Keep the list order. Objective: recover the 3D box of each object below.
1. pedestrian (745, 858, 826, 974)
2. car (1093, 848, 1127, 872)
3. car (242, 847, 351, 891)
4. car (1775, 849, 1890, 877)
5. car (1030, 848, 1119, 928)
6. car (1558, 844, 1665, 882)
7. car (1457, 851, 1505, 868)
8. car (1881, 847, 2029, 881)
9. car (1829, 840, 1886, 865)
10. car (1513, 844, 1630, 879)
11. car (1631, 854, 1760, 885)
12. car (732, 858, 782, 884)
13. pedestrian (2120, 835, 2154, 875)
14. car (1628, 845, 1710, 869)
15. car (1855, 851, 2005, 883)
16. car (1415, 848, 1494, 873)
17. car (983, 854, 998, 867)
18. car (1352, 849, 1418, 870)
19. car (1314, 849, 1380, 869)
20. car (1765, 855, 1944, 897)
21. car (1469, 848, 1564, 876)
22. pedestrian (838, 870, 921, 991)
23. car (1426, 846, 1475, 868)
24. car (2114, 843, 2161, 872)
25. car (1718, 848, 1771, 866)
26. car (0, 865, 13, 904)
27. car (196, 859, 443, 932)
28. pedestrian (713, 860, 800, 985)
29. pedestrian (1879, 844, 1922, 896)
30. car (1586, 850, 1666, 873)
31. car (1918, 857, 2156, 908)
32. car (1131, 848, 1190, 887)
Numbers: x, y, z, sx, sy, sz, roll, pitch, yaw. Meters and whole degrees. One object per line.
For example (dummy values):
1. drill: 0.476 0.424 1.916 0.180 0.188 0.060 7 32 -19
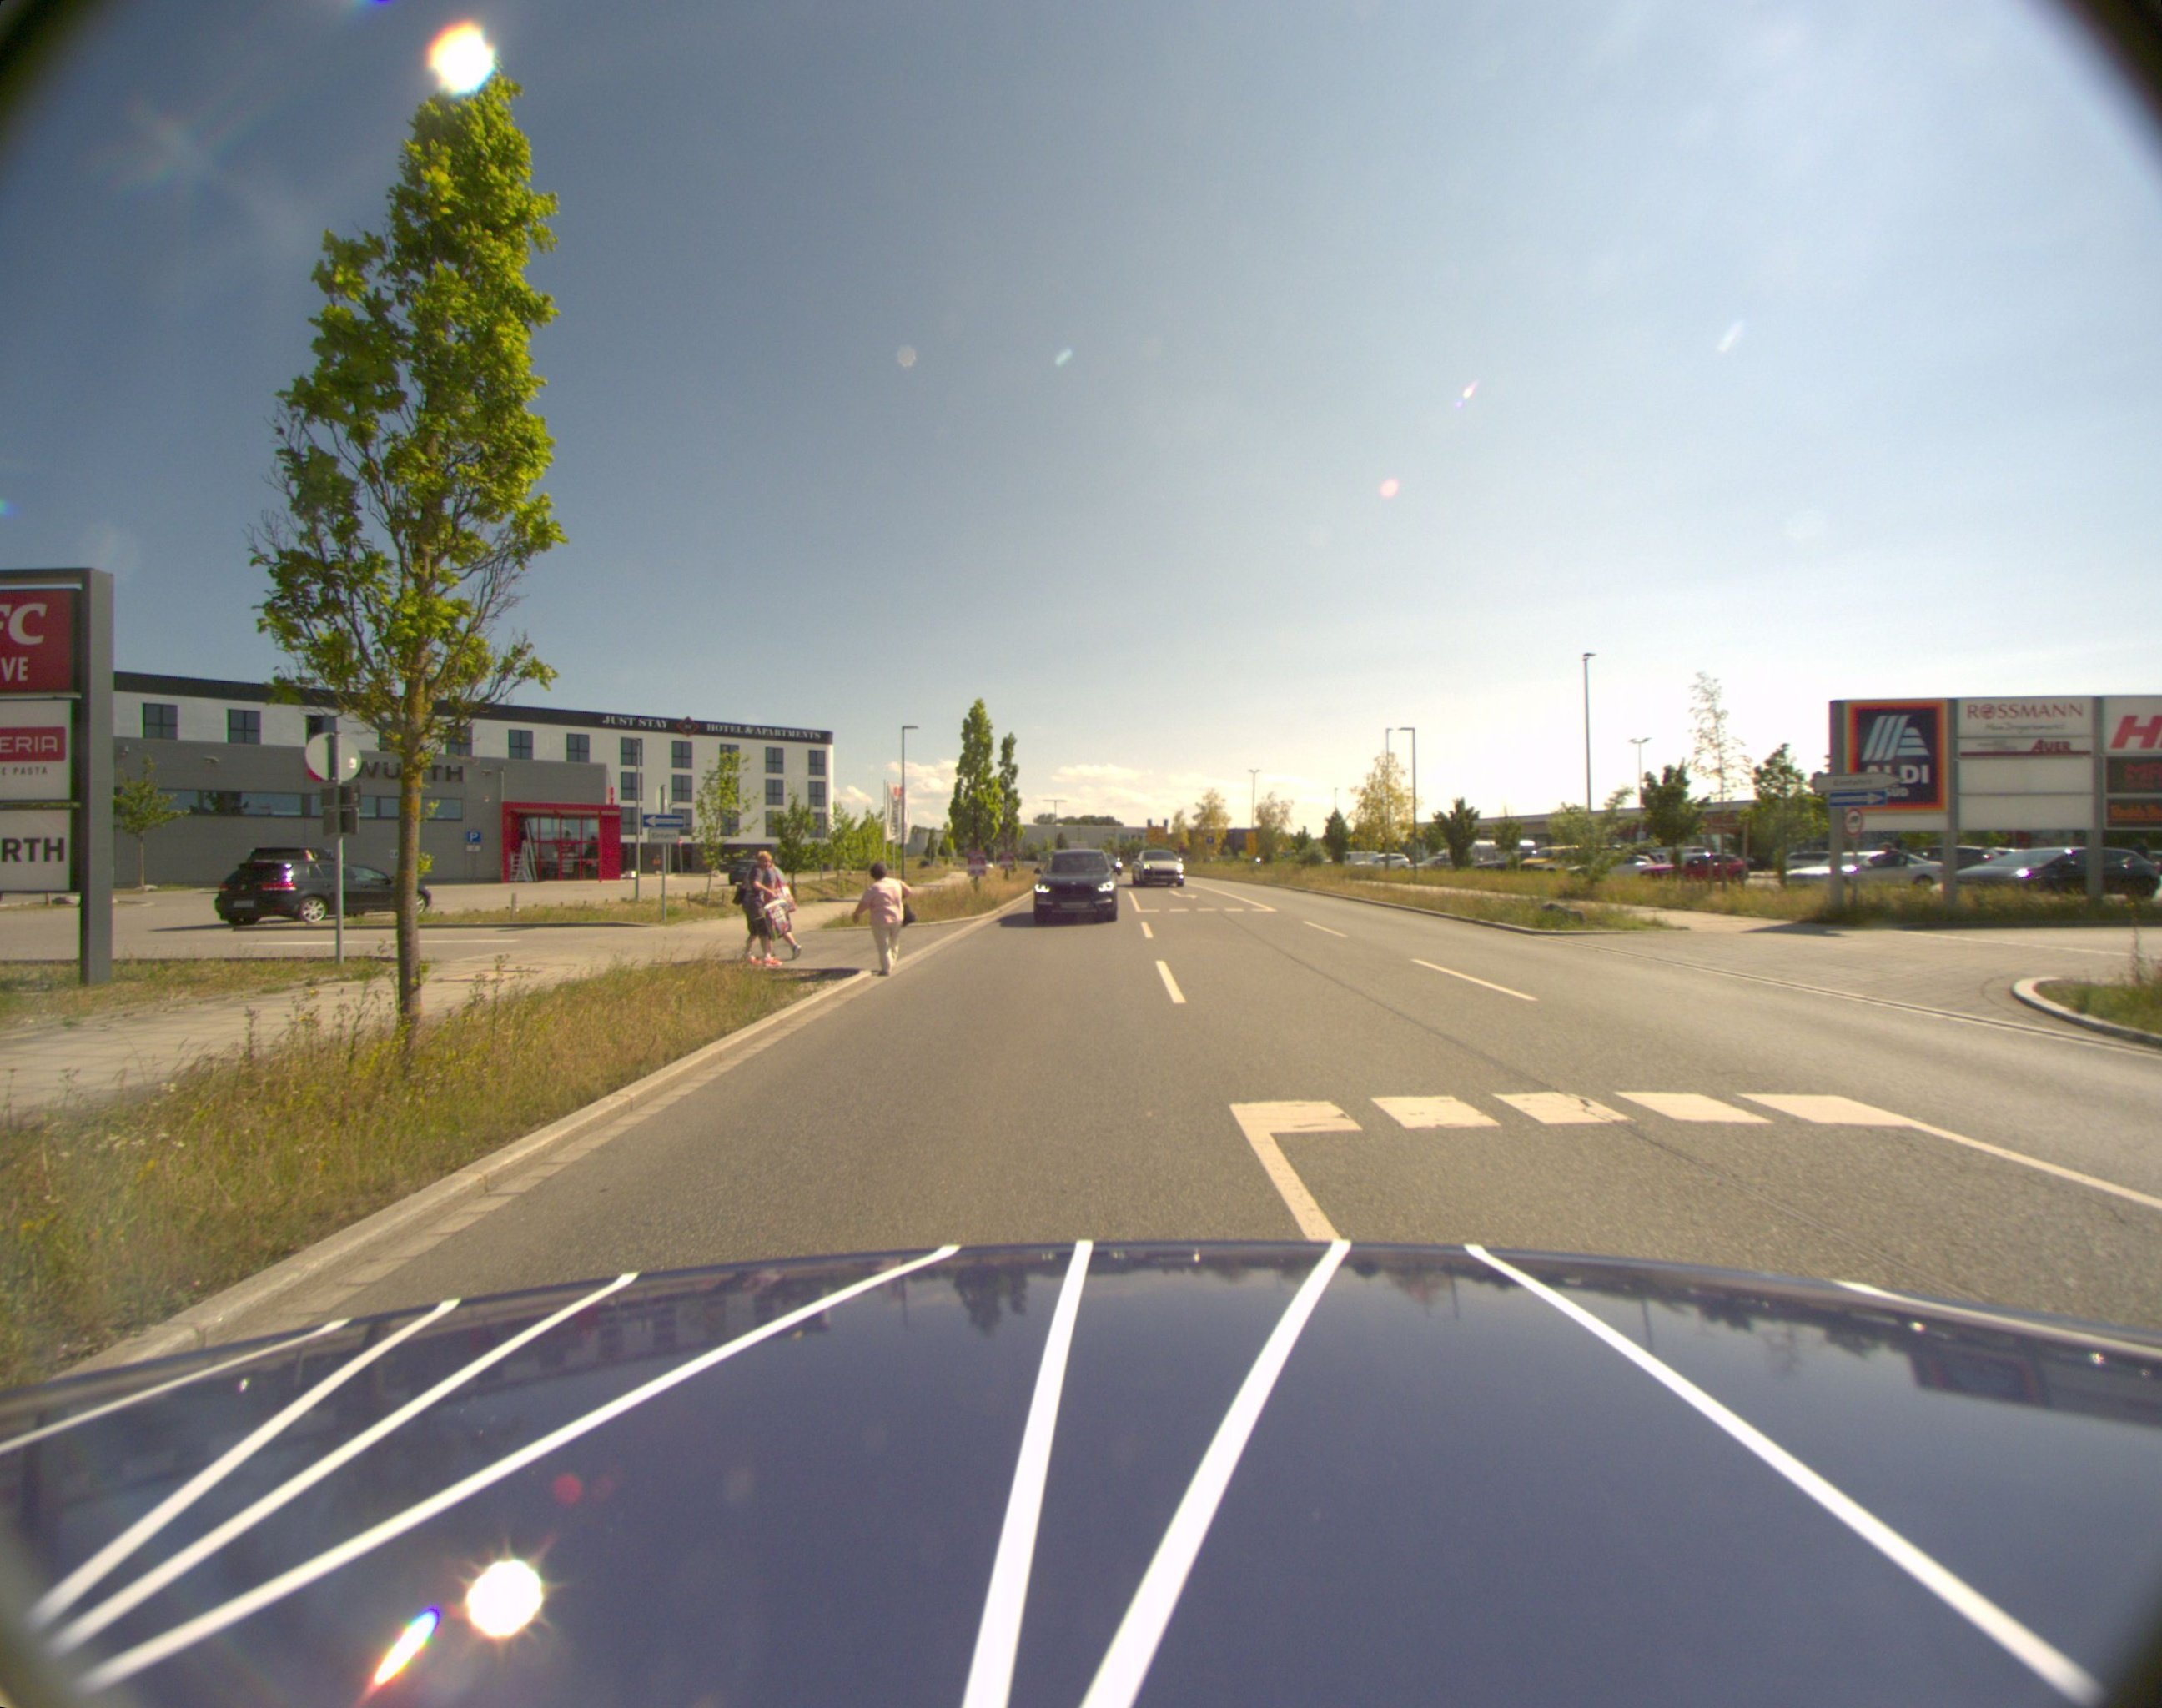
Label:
1. pedestrian: -4.349 0.887 11.231 0.811 1.619 0.866 -1 1 0
2. car: 2.003 0.422 53.992 1.757 1.678 4.378 0 0 -7
3. car: -34.520 0.617 33.615 2.052 1.805 4.912 0 0 -29
4. car: 42.572 0.473 43.166 1.719 1.517 4.348 0 0 -18
5. car: -0.258 0.790 18.615 1.901 1.669 4.466 -1 -1 -3
6. car: 26.860 0.454 38.549 4.155 1.850 1.932 0 0 -2
7. car: 37.817 0.500 71.870 4.004 1.543 1.841 0 0 -19
8. car: 41.711 0.468 36.407 1.719 1.540 4.347 0 0 -21
9. car: 58.645 -0.125 57.364 4.360 1.797 1.713 0 0 -26
10. car: 28.117 0.401 43.657 5.699 1.953 1.999 0 0 -7
11. car: 27.172 0.678 33.685 4.154 1.340 1.936 0 0 0
12. car: -18.356 0.938 43.229 1.518 1.399 3.998 0 0 -6
13. pedestrian: 48.696 0.058 35.053 0.571 1.813 0.780 -1 1 -19
14. car: 43.317 0.216 56.096 1.719 1.731 4.576 0 0 -18
15. car: 39.461 0.561 35.465 1.719 1.408 4.347 0 0 -21
16. car: 26.294 0.444 53.543 4.716 1.662 1.999 0 0 -7
17. car: -10.928 0.763 91.530 1.787 1.485 3.997 -1 0 -8
18. car: 24.462 0.406 61.174 4.604 1.662 1.998 0 0 -8
19. car: 23.209 0.418 66.280 5.199 1.662 1.998 0 0 -13
20. car: 26.352 0.725 25.991 4.154 1.340 1.936 0 0 0
21. car: 26.214 0.473 45.836 4.782 1.662 1.881 0 0 -6
22. pedestrian: -2.604 0.965 9.932 0.795 1.461 0.949 -1 1 0
23. car: 44.455 0.389 91.450 5.725 2.572 1.936 0 0 -22
24. car: 62.640 0.190 44.519 4.360 1.616 1.714 0 0 -26
25. car: 54.855 0.243 62.827 4.360 1.515 1.714 0 0 -26
26. car: -33.450 0.950 21.879 1.656 1.205 4.125 -1 0 -32
27. car: -18.311 0.908 18.609 1.784 1.531 4.169 0 0 1
28. pedestrian: -4.412 0.912 10.398 0.803 1.620 0.804 -1 1 0
29. pedestrian: 26.698 0.514 24.769 0.766 1.685 0.578 -1 1 0
30. car: 38.328 0.522 53.529 1.719 1.517 4.346 0 0 -22
31. car: 26.273 0.752 20.995 4.154 1.340 1.936 0 0 0
32. car: 3.625 0.655 35.716 2.114 1.633 4.778 -1 -1 -2
